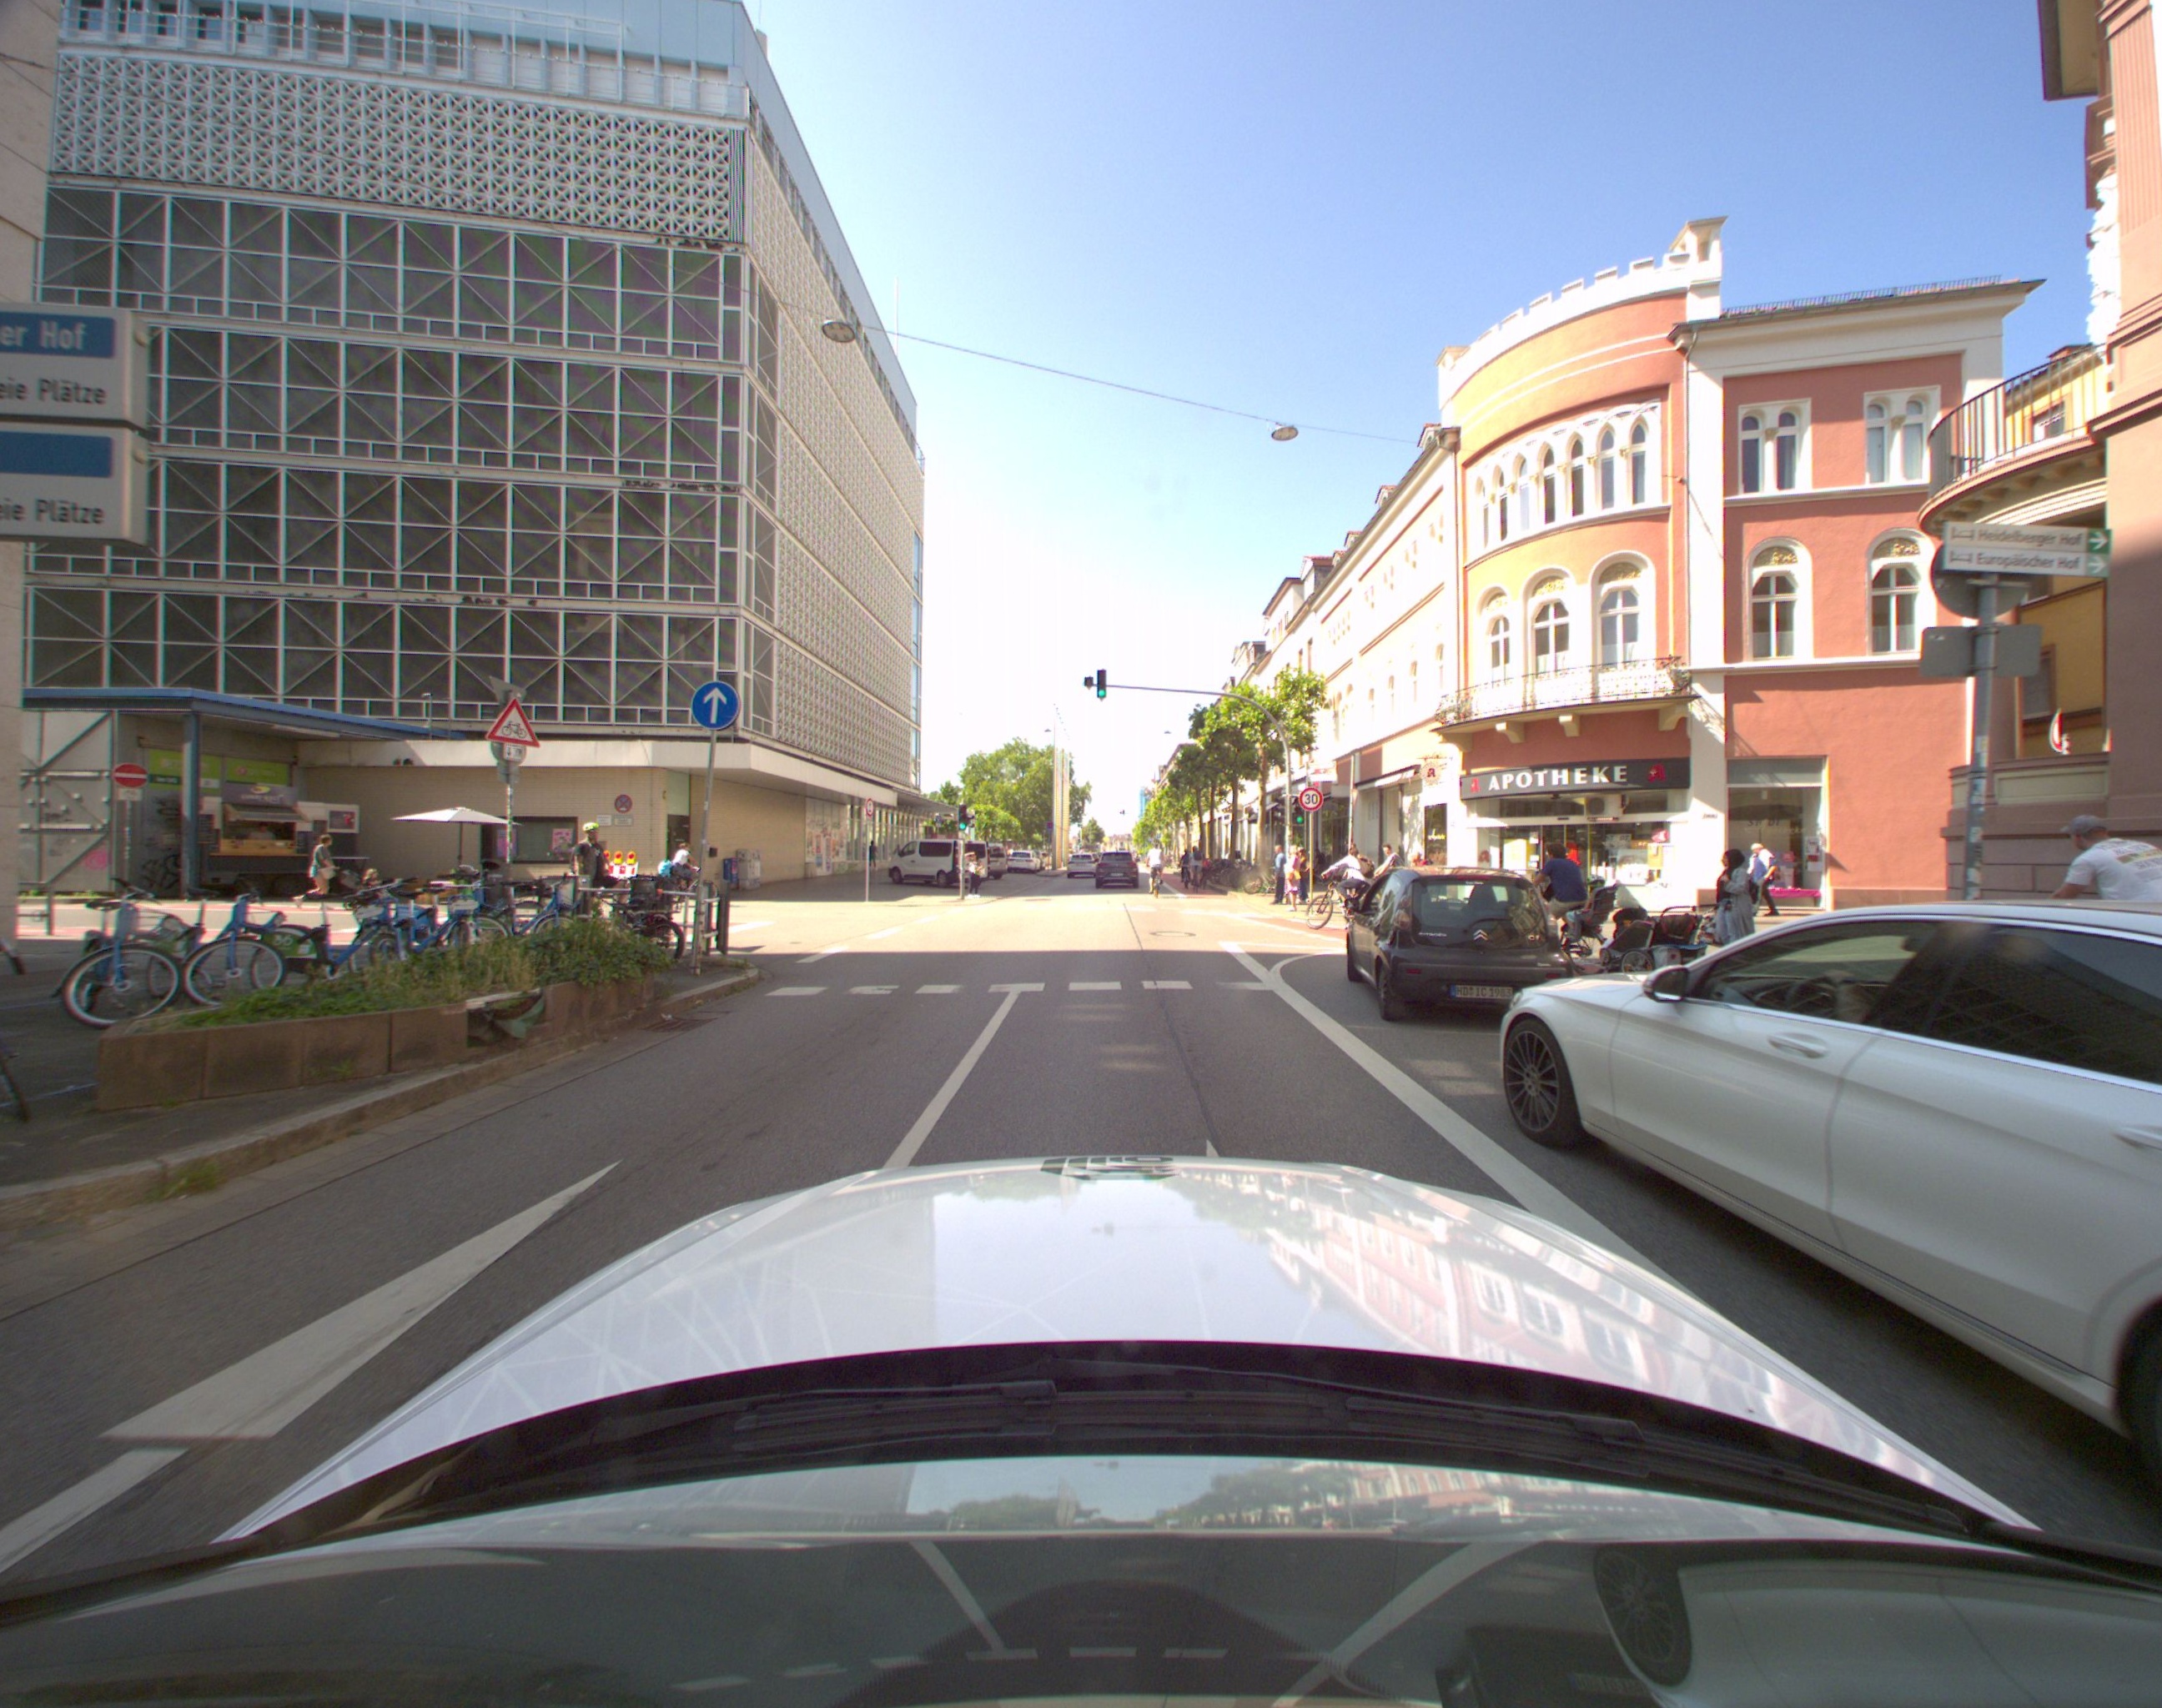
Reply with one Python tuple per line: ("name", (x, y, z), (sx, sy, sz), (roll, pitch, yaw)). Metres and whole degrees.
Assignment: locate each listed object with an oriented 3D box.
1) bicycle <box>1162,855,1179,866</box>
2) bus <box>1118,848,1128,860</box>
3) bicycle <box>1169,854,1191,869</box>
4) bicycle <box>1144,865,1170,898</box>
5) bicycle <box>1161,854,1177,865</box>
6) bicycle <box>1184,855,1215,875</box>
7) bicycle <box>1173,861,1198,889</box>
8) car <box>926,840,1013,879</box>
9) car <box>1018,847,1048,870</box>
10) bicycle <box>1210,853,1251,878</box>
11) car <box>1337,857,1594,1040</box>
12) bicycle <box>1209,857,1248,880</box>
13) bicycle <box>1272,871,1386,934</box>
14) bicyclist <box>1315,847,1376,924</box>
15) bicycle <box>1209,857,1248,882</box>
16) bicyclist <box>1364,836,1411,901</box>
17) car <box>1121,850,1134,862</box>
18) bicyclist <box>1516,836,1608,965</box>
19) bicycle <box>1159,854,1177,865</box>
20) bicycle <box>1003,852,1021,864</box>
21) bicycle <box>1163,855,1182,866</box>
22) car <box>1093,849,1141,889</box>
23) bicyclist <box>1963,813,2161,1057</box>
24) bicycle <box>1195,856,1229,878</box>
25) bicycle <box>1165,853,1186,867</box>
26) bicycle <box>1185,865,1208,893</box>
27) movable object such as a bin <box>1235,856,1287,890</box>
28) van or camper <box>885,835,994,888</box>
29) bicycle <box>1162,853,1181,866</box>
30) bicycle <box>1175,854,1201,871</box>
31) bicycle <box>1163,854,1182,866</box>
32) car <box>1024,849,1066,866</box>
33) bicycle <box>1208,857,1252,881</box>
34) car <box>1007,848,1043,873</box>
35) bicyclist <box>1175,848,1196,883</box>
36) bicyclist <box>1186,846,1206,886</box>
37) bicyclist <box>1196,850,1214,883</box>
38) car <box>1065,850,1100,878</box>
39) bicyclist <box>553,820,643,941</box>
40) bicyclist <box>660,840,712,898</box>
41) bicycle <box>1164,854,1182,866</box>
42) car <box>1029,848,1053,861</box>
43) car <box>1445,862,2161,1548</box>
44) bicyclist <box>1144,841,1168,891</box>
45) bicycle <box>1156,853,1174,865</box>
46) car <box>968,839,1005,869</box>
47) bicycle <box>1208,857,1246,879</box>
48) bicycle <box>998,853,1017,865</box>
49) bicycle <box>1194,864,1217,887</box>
("bicycle", (9.115, 0.618, 83.075), (1.641, 1.095, 0.607), (1, 0, 4))
("bus", (12.526, -0.008, 243.758), (2.983, 3.594, 11.749), (0, -1, 2))
("bicycle", (8.269, 0.610, 68.035), (1.830, 1.186, 0.671), (2, 0, 7))
("bicycle", (2.501, 0.879, 27.115), (0.771, 1.006, 2.331), (0, 0, 3))
("bicycle", (9.181, 0.562, 84.598), (1.641, 1.201, 0.475), (1, 0, 4))
("bicycle", (7.451, 0.698, 51.187), (1.837, 1.126, 0.496), (2, 1, -6))
("bicycle", (4.346, 0.863, 34.015), (0.696, 1.127, 2.080), (2, 0, -1))
("car", (-5.804, 0.253, 42.247), (4.389, 1.909, 2.022), (1, 1, 39))
("car", (-3.479, 0.338, 59.489), (1.754, 1.600, 4.711), (0, 0, 2))
("bicycle", (6.872, 0.514, 37.449), (1.830, 1.127, 0.681), (1, 0, 7))
("car", (3.787, 0.805, 8.676), (1.618, 1.478, 3.743), (1, -1, 11))
("bicycle", (7.304, 0.708, 40.367), (1.831, 1.127, 0.449), (0, -1, 5))
("bicycle", (4.975, 0.939, 16.407), (2.055, 1.127, 0.705), (2, 0, 35))
("bicyclist", (5.260, 0.607, 16.213), (0.948, 1.445, 0.705), (2, 0, 35))
("bicycle", (7.167, 0.745, 39.570), (1.827, 1.127, 0.532), (2, -1, 14))
("bicyclist", (6.779, 0.316, 18.018), (0.855, 1.411, 0.501), (0, 0, 3))
("car", (6.896, 0.252, 121.580), (1.838, 1.668, 4.001), (2, 0, 1))
("bicyclist", (6.500, 0.607, 11.034), (0.730, 1.673, 0.772), (-1, -1, -9))
("bicycle", (9.190, 0.568, 86.325), (1.835, 1.201, 0.609), (1, 0, 4))
("bicycle", (-7.217, 0.406, 84.966), (1.776, 1.309, 0.663), (1, 0, -1))
("bicycle", (8.803, 0.625, 78.295), (1.720, 1.109, 0.478), (1, 0, 4))
("car", (1.476, 0.601, 34.547), (1.839, 1.559, 4.000), (-1, 0, 0))
("bicyclist", (7.556, 0.537, 6.101), (0.571, 1.661, 1.155), (-2, 1, -9))
("bicycle", (6.961, 0.704, 43.172), (1.853, 1.127, 0.588), (1, -2, -34))
("bicycle", (8.727, 0.544, 75.127), (1.922, 1.248, 0.737), (1, 0, 4))
("bicycle", (4.340, 0.915, 30.757), (0.628, 0.980, 2.090), (0, 1, 2))
("movable object such as a bin", (6.781, 0.703, 30.669), (1.836, 1.189, 0.656), (2, 0, 17))
("van or camper", (-5.939, 0.259, 33.980), (4.602, 2.013, 2.012), (2, 1, 42))
("bicycle", (8.737, 0.549, 78.659), (1.720, 1.217, 0.478), (1, 0, 4))
("bicycle", (7.818, 0.618, 59.210), (1.829, 1.197, 0.675), (1, 0, 9))
("bicycle", (8.748, 0.608, 77.877), (1.720, 1.109, 0.403), (1, 0, 4))
("car", (-3.525, 0.339, 80.730), (1.873, 1.541, 4.892), (1, 2, 29))
("bicycle", (7.121, 0.721, 38.857), (1.971, 1.127, 0.764), (0, -1, 15))
("car", (-3.639, 0.375, 53.690), (1.792, 1.523, 4.742), (1, 1, 3))
("bicyclist", (4.356, 0.469, 34.005), (0.696, 1.440, 0.790), (2, 0, -1))
("bicyclist", (4.341, 0.433, 30.815), (0.628, 1.481, 1.199), (0, 0, 2))
("bicyclist", (5.170, 0.503, 33.950), (0.598, 1.357, 0.720), (1, 0, -1))
("car", (0.130, 0.569, 47.805), (1.838, 1.560, 4.003), (-1, 0, 3))
("bicyclist", (-8.132, 0.435, 13.745), (0.837, 1.960, 1.019), (0, 0, 8))
("bicyclist", (-10.819, 0.393, 22.300), (0.727, 1.539, 1.083), (0, 1, 45))
("bicycle", (8.753, 0.579, 77.462), (1.720, 1.109, 0.403), (1, 0, 4))
("car", (-6.243, 0.087, 127.028), (1.842, 1.955, 4.787), (0, -1, 23))
("car", (3.355, 0.812, 2.957), (1.945, 1.425, 4.887), (2, 0, 1))
("bicyclist", (2.496, 0.394, 27.098), (0.771, 1.635, 0.852), (0, 0, 3))
("bicycle", (9.370, 0.543, 90.738), (1.937, 1.257, 0.701), (1, 0, -17))
("car", (-6.589, 0.010, 57.266), (1.824, 2.013, 4.689), (0, 0, 3))
("bicycle", (7.307, 0.709, 40.827), (1.831, 1.127, 0.449), (0, -1, 5))
("bicycle", (-7.357, 0.510, 81.485), (1.776, 1.105, 0.562), (1, 0, -1))
("bicycle", (5.168, 0.884, 33.953), (0.598, 0.926, 2.086), (1, 0, -1))
